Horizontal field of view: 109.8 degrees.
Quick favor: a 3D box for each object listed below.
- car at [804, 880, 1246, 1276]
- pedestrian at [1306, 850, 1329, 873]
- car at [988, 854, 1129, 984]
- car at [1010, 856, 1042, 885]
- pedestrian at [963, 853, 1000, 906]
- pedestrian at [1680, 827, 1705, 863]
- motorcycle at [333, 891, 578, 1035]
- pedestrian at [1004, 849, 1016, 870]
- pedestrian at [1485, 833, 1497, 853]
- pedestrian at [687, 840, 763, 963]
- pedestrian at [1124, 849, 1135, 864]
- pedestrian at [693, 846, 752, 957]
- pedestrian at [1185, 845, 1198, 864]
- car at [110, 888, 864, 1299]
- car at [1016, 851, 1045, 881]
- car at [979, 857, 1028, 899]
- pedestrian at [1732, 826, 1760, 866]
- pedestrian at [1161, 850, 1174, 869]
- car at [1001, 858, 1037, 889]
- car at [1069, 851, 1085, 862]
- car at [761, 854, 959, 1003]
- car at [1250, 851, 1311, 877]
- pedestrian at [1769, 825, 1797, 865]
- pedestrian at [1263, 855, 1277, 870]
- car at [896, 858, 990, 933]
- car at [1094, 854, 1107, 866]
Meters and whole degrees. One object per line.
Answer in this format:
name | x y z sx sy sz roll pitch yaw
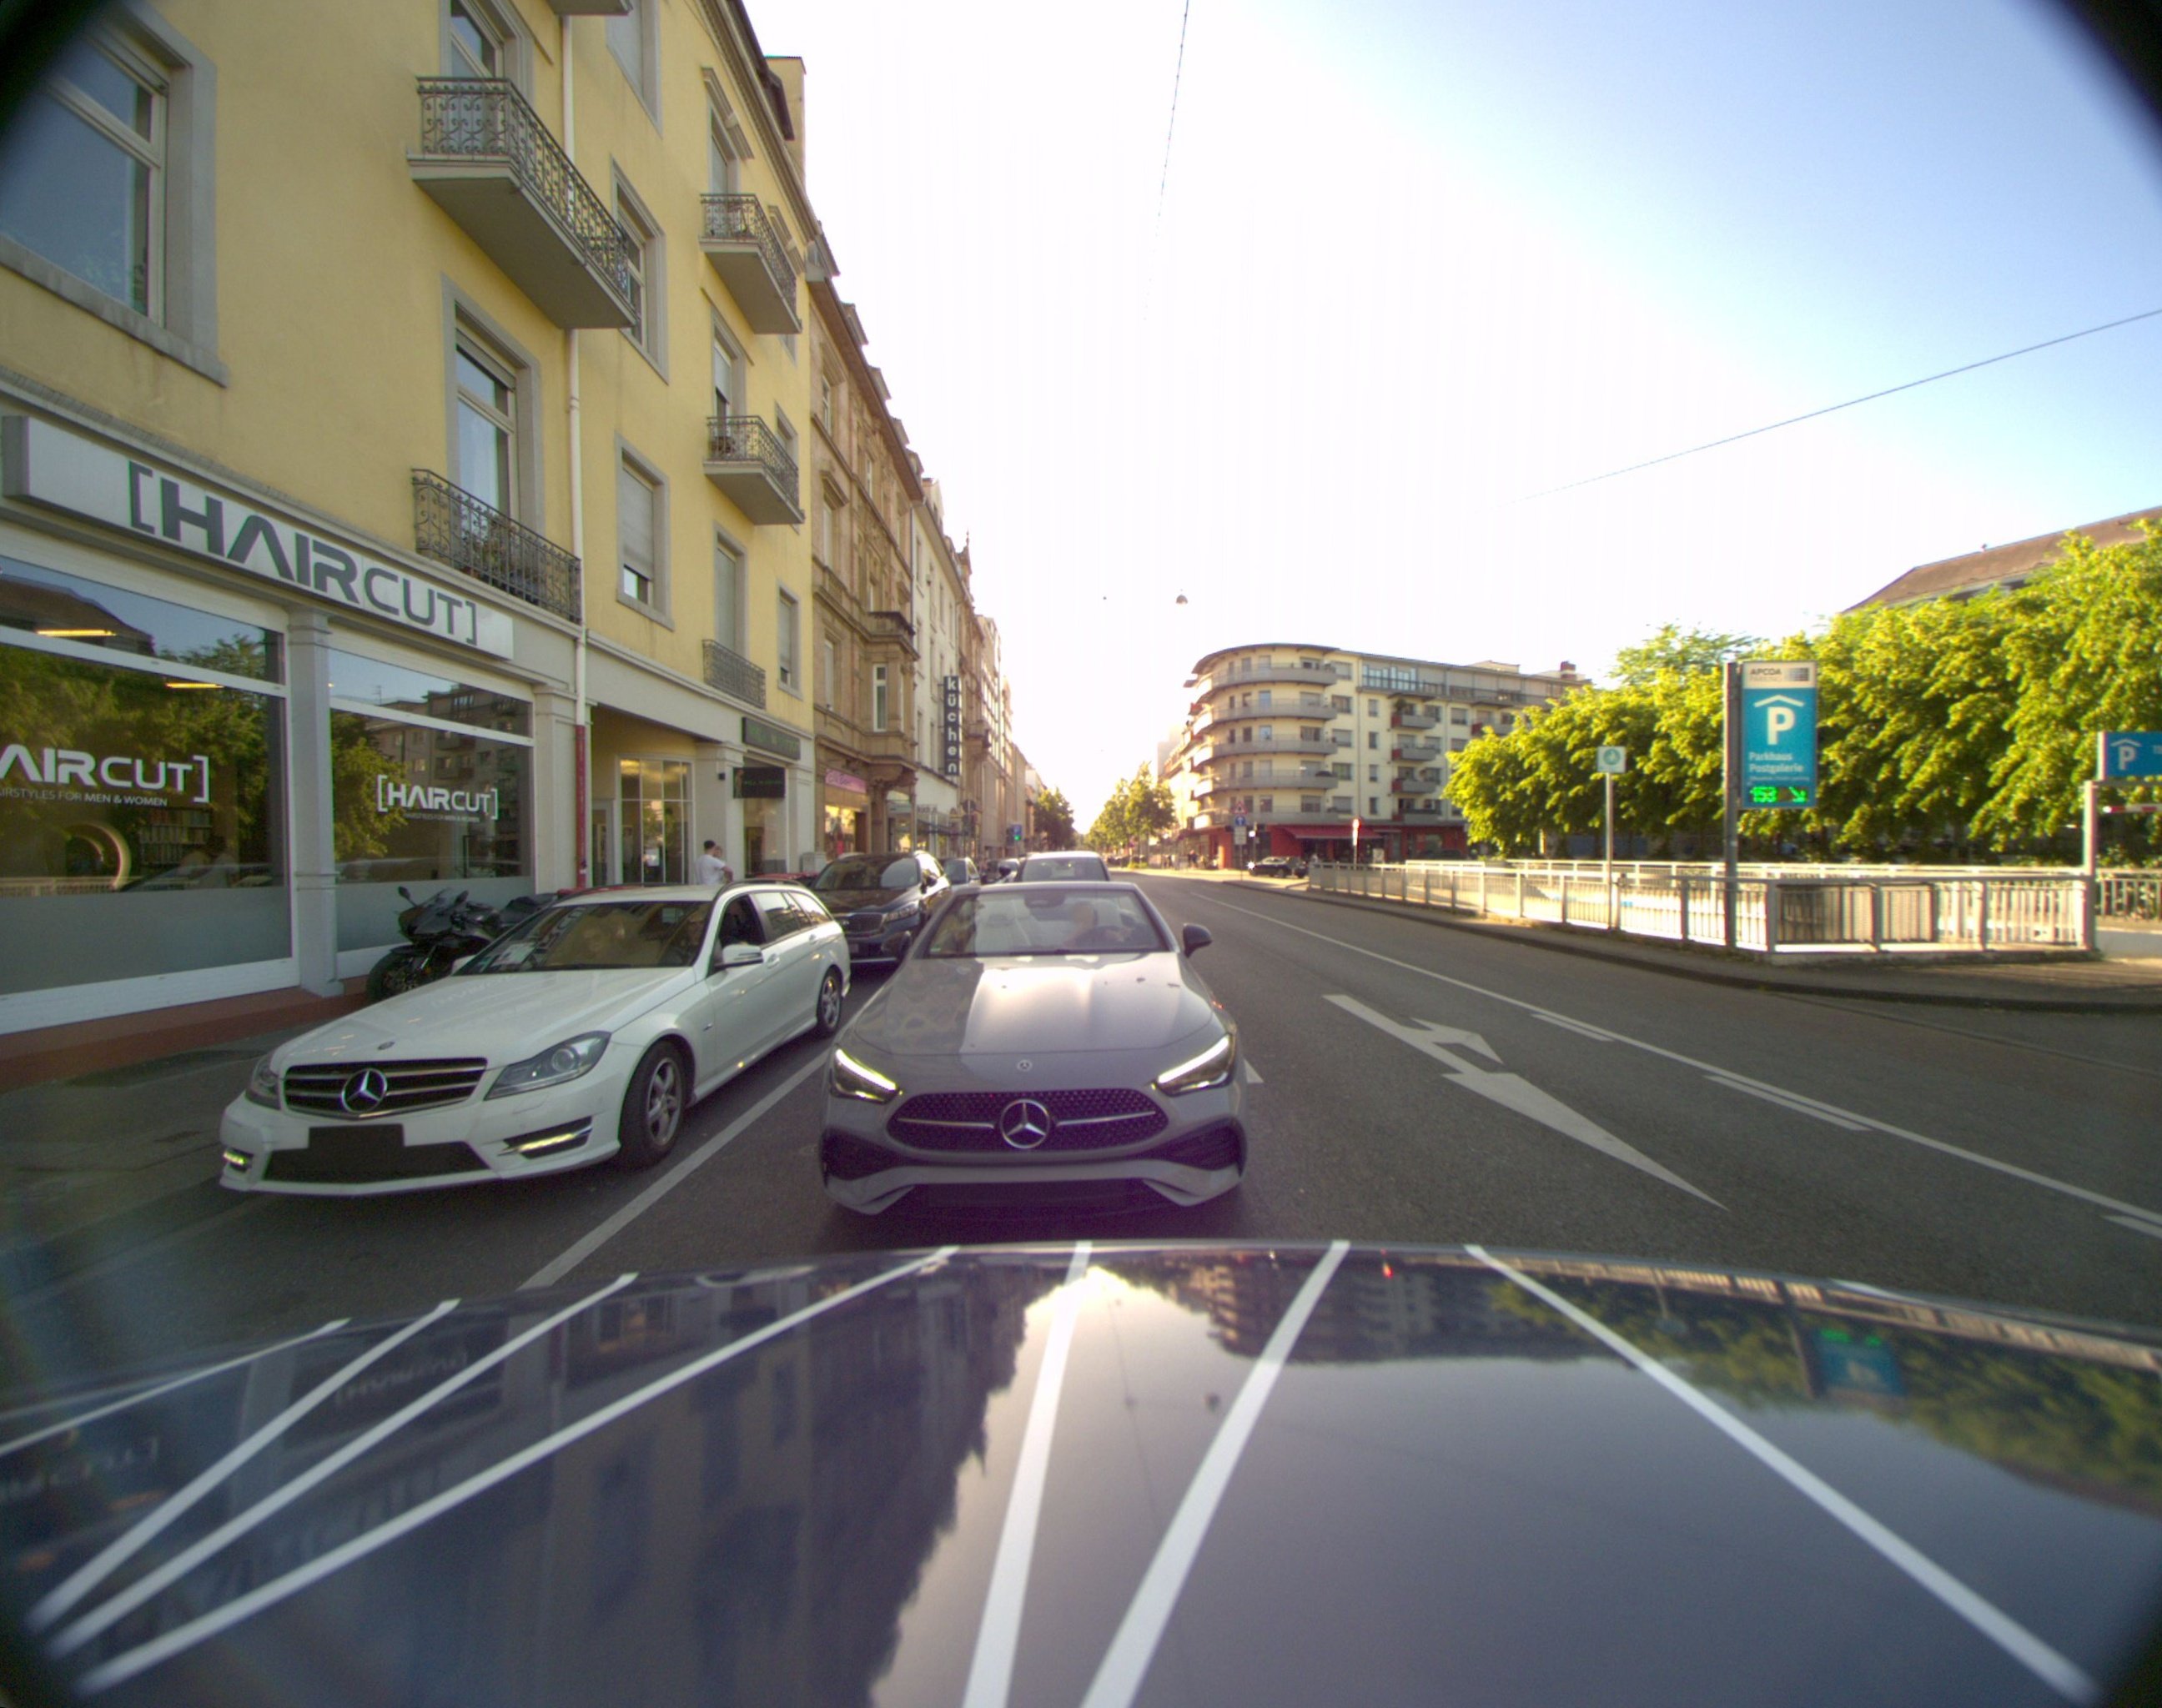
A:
car | -0.279 0.999 5.368 1.769 1.360 4.471 -2 1 -2
pedestrian | 17.423 0.564 56.011 1.269 1.656 1.142 -1 1 40
car | -0.362 0.895 12.768 1.866 1.658 4.706 -2 1 -2
car | -2.938 0.868 40.960 1.461 1.391 3.363 -2 1 -1
pedestrian | -3.345 0.844 25.642 0.835 1.709 0.821 -1 2 45
pedestrian | 31.811 -0.448 39.539 0.748 1.832 0.683 -3 1 -21
motorcycle | -6.253 1.024 7.799 0.735 1.124 2.109 2 1 1
pedestrian | -5.815 0.454 62.531 0.826 1.750 0.823 -2 1 -1
pedestrian | 38.367 -0.991 71.066 0.747 1.832 0.684 -2 1 1
pedestrian | -5.705 0.731 12.173 0.975 1.866 0.534 -3 1 -31
pedestrian | 6.095 0.270 95.325 1.221 1.826 1.203 -2 1 7
pedestrian | -6.146 0.795 13.071 0.630 1.826 0.770 -2 1 -7
pedestrian | 10.845 0.049 74.544 0.990 1.908 0.790 -2 1 -3
car | -3.024 1.073 5.257 1.672 1.364 4.377 -2 1 1
car | -3.148 0.719 47.558 1.695 1.670 3.880 -2 1 -3
car | -3.023 0.904 30.323 1.695 1.482 3.796 -2 1 -3
pedestrian | 32.197 -0.385 36.784 0.748 1.852 0.683 -2 1 -13
pedestrian | 7.926 0.468 69.512 1.068 1.709 1.081 -2 1 6
car | -2.950 0.902 36.691 1.461 1.310 3.363 -2 1 -1
car | -0.561 0.361 102.752 1.696 1.437 3.573 -2 1 -8
car | -3.010 0.891 11.349 1.806 1.680 4.408 -2 1 -3
car | 12.997 0.622 49.822 1.679 1.522 4.240 1 2 -21
pedestrian | 33.729 -0.431 36.501 0.748 1.832 0.683 -2 1 -13
pedestrian | 14.928 0.670 60.048 0.780 1.191 0.884 -2 1 -10
car | -3.178 0.907 18.000 1.583 1.514 2.998 -2 1 1
car | 3.007 0.895 118.652 1.836 1.831 3.886 1 1 -2
